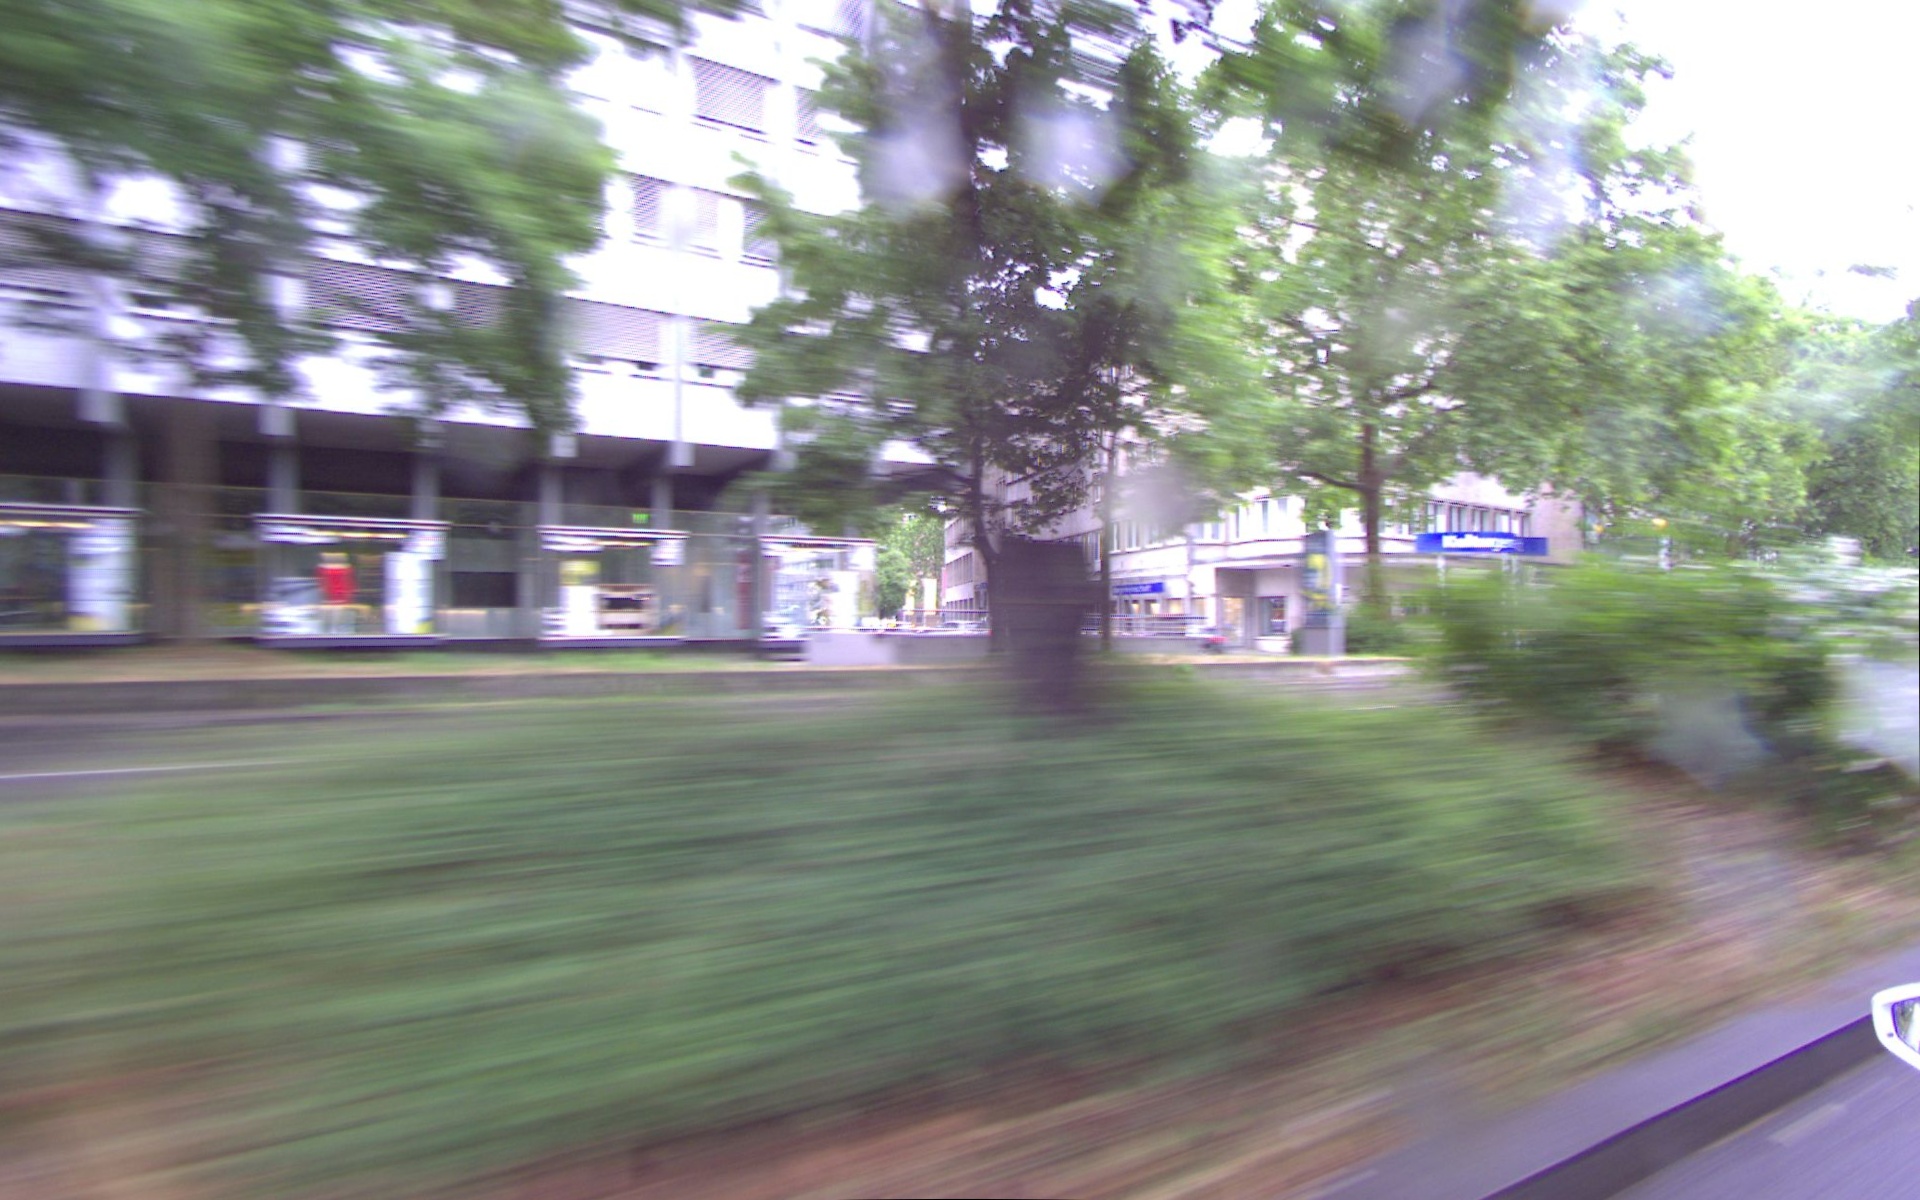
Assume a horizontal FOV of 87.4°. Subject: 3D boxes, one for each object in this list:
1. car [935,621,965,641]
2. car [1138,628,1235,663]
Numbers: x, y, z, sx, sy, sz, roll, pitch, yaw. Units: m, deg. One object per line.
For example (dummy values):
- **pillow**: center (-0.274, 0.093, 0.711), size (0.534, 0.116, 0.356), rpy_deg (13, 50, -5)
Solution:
- **car**: center (-0.831, 2.451, 79.039), size (1.736, 1.417, 3.841), rpy_deg (1, 0, -10)
- **car**: center (8.633, 1.698, 38.348), size (3.349, 1.193, 1.514), rpy_deg (1, -1, 27)
